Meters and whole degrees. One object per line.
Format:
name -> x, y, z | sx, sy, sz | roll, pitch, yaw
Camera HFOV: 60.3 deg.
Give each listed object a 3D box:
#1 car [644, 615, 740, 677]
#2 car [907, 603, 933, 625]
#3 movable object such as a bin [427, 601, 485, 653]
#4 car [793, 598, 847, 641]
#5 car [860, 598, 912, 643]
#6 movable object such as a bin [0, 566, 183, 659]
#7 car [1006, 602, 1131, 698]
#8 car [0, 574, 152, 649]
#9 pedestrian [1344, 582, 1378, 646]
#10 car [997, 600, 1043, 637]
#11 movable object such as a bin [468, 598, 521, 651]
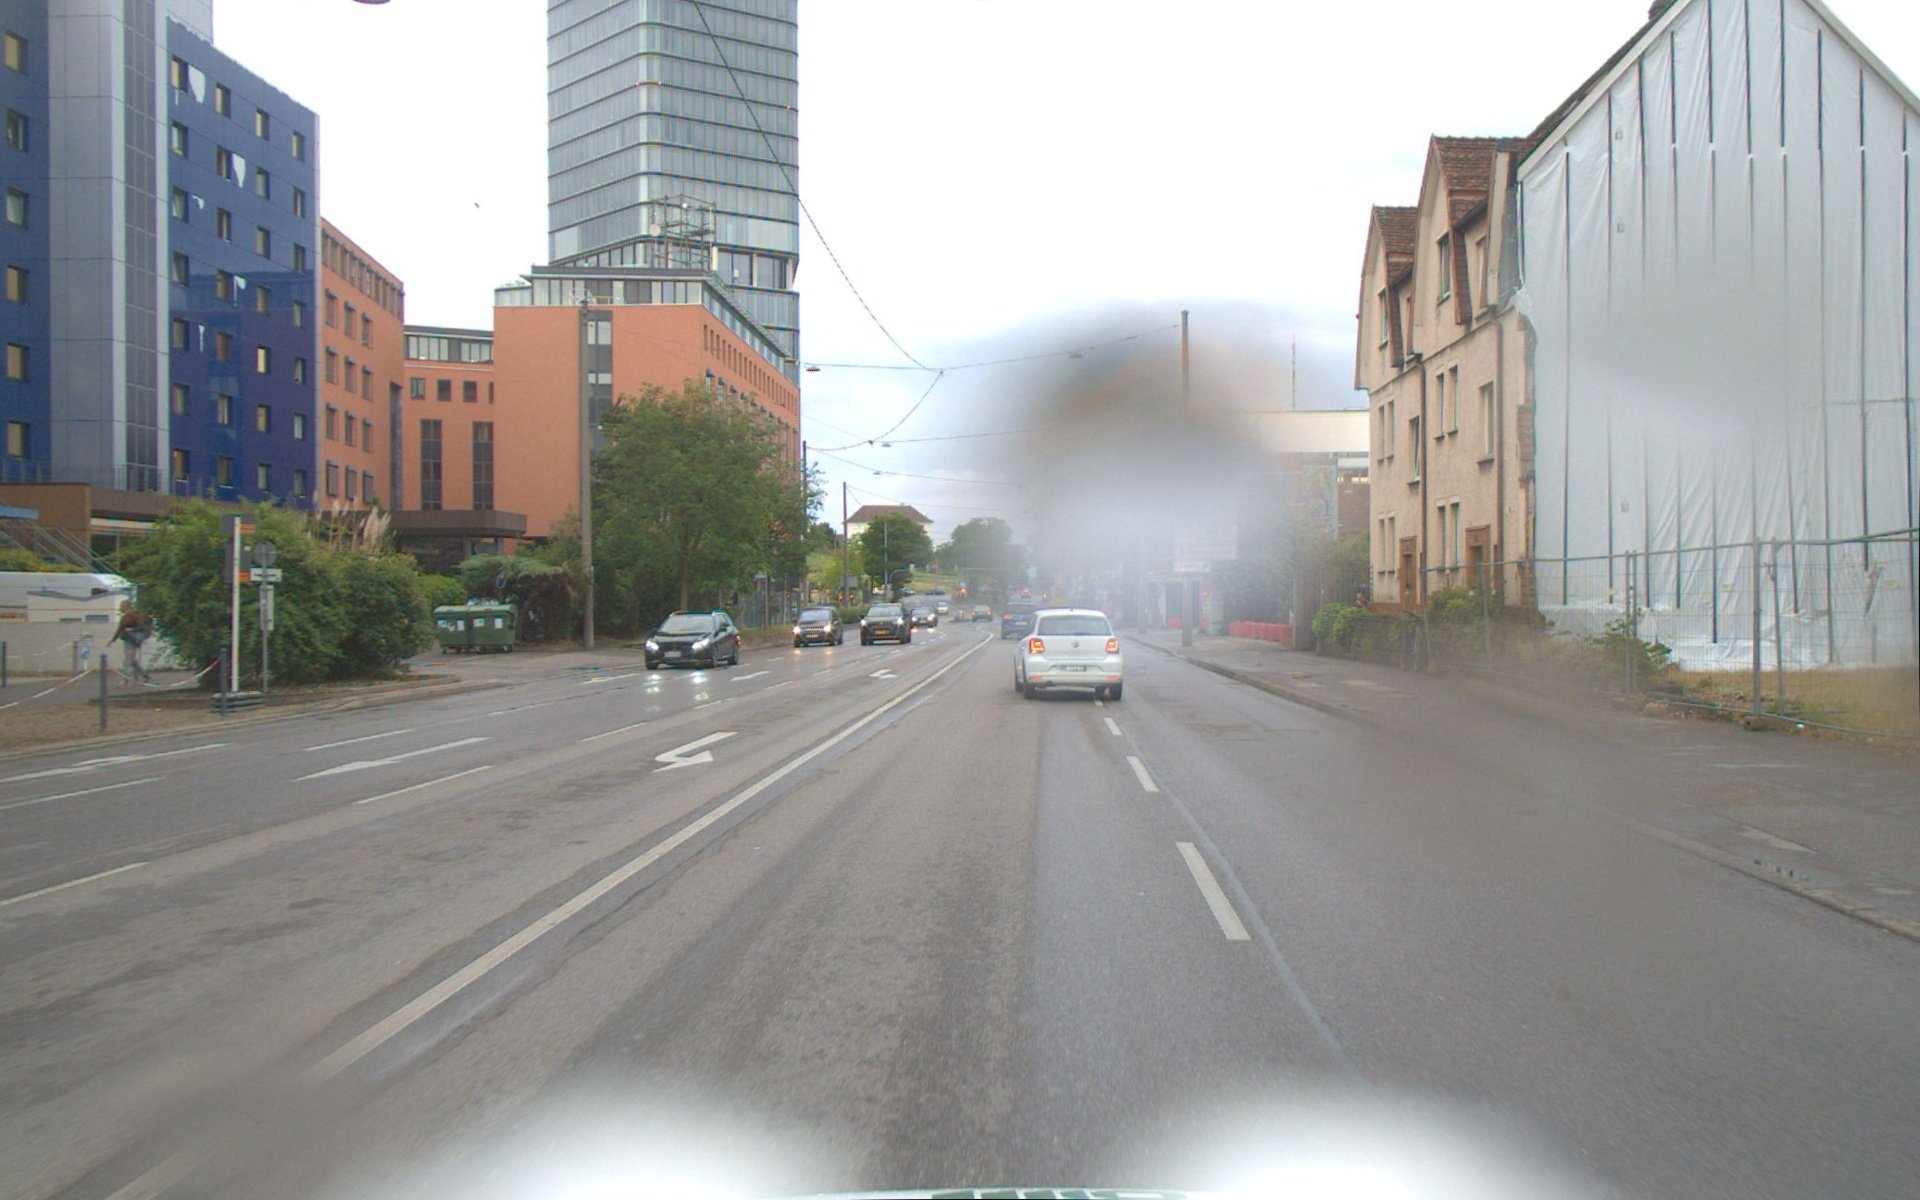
car -> -7.146, 1.194, 44.475 | 1.697, 1.502, 4.699 | -1, 0, 1
car -> -2.892, 1.016, 120.315 | 1.625, 1.512, 3.821 | -1, 0, 2
movable object such as a bin -> -15.530, 0.822, 50.937 | 1.360, 1.517, 0.952 | -3, -2, 14
car -> -5.835, 0.782, 69.228 | 1.672, 1.593, 4.036 | -3, 1, 3
car -> -3.028, 0.830, 68.490 | 1.720, 1.582, 4.452 | -3, 1, 2
movable object such as a bin -> -28.542, 0.445, 53.740 | 5.509, 2.674, 2.162 | -3, -2, 2
car -> 1.786, 0.799, 28.269 | 1.638, 1.499, 3.776 | 0, 0, -4
car -> -27.914, 0.376, 51.426 | 4.615, 2.049, 1.893 | -3, -2, 3
pedestrian -> 11.320, 0.391, 46.651 | 0.892, 1.794, 0.768 | 1, 0, 14
car -> 2.732, 0.800, 74.678 | 1.952, 1.601, 4.002 | -1, 0, 4
movable object such as a bin -> -14.112, 0.742, 50.168 | 1.364, 1.517, 0.950 | -3, -2, -7
